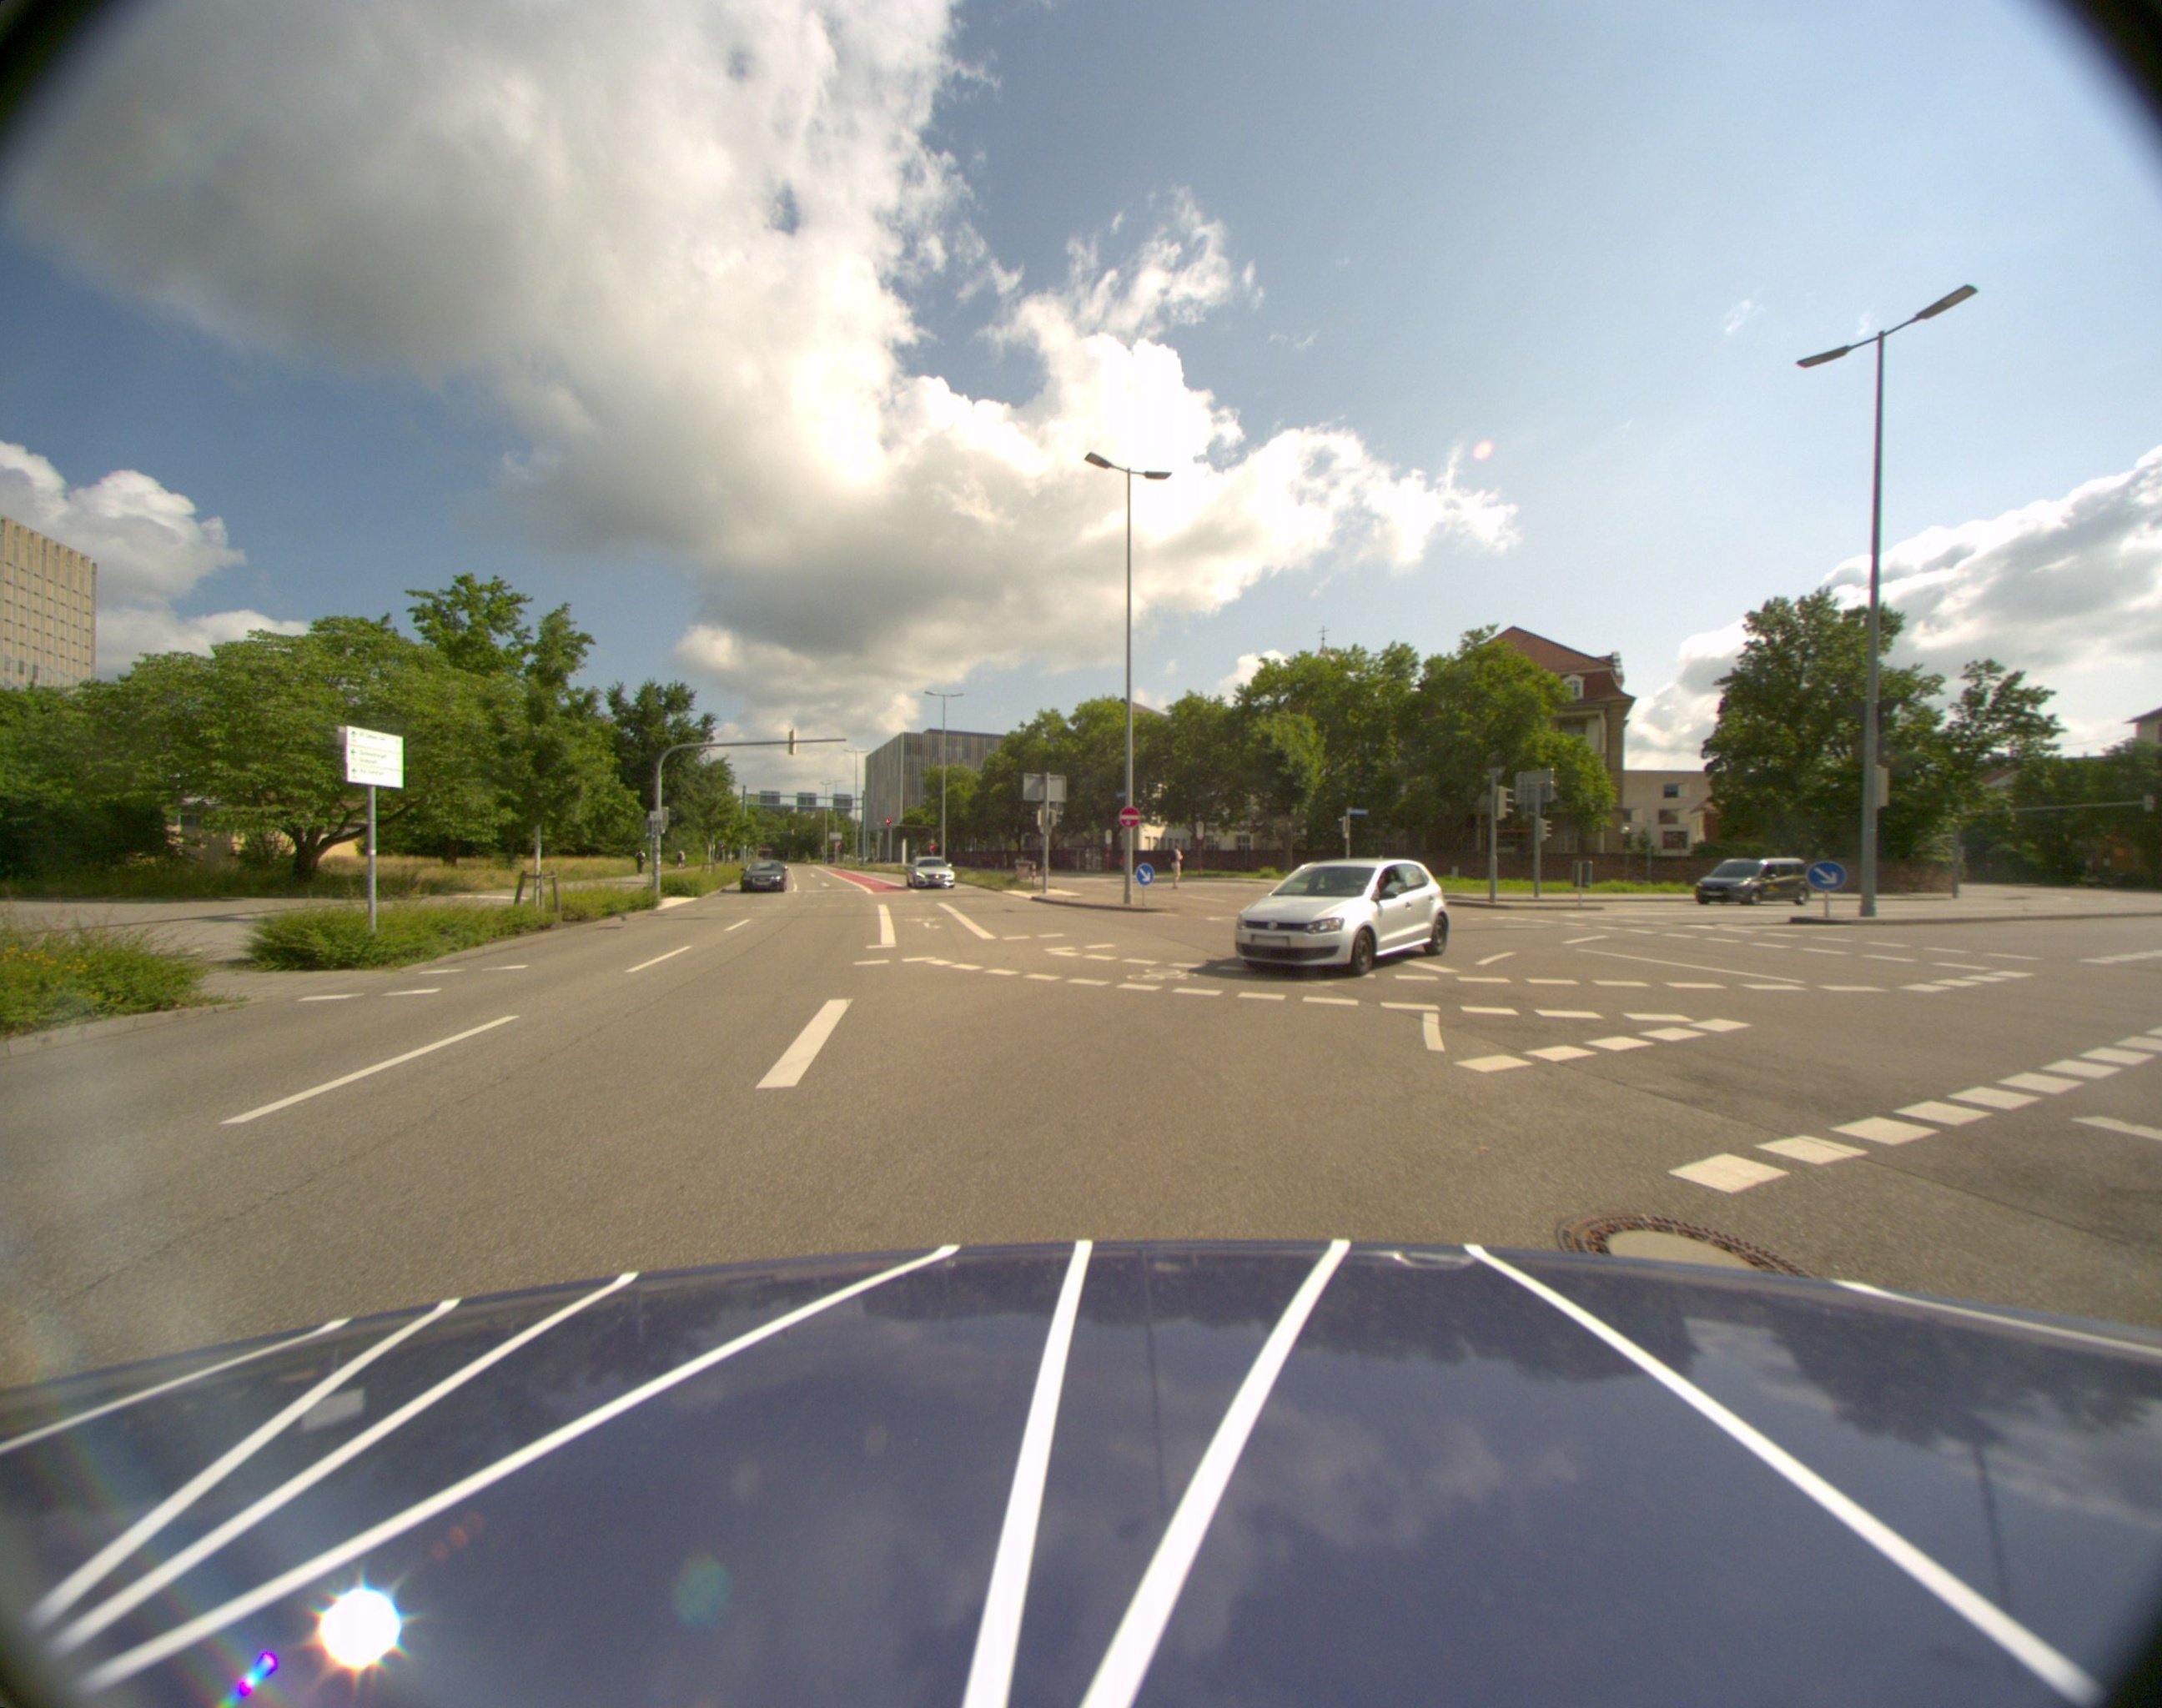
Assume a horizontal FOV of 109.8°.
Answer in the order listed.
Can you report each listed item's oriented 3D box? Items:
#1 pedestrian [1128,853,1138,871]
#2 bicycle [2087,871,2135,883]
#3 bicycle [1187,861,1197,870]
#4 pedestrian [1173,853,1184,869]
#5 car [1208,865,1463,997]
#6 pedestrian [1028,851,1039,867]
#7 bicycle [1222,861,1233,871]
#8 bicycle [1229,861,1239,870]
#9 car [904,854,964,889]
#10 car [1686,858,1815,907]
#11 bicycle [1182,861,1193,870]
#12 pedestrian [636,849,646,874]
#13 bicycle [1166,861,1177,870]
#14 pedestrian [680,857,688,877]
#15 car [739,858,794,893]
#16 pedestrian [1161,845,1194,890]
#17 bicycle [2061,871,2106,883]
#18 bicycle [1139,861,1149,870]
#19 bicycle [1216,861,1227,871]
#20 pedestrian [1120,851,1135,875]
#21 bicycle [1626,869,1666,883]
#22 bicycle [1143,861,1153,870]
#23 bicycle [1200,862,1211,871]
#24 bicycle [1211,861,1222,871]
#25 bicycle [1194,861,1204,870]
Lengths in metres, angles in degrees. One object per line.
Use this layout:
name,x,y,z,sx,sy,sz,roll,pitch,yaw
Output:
pedestrian,5.147,0.764,75.043,0.665,1.713,0.740,0,1,-43
bicycle,112.299,2.475,82.849,1.050,1.200,2.891,-2,1,-17
bicycle,10.528,1.073,71.979,0.481,0.843,0.975,2,1,44
pedestrian,9.311,0.635,72.320,0.722,1.525,0.728,1,1,45
car,3.659,0.895,10.535,4.013,1.433,1.651,0,0,-43
pedestrian,-5.542,0.598,87.937,0.888,1.770,0.768,-5,4,-44
bicycle,13.327,1.098,69.218,0.481,0.843,0.975,2,1,44
bicycle,13.868,1.061,68.800,0.481,0.843,0.975,2,1,44
car,-7.057,0.787,36.001,2.064,1.434,4.771,-2,1,-20
car,25.602,1.073,29.056,4.677,1.774,1.851,1,-1,-23
bicycle,10.163,1.090,72.411,0.481,0.843,0.975,2,1,44
pedestrian,-27.761,0.488,47.929,0.543,1.598,0.523,1,-2,-28
bicycle,8.776,1.140,73.683,0.481,0.843,0.975,2,1,44
pedestrian,-34.612,1.143,66.244,0.543,1.757,0.523,1,-2,-28
car,-13.760,0.923,33.430,2.002,1.369,4.153,1,0,-20
pedestrian,4.056,0.566,31.952,1.183,1.846,0.697,0,-1,-35
bicycle,113.344,2.564,85.928,1.074,1.200,2.891,-2,1,-17
bicycle,6.272,1.165,76.114,0.481,0.843,0.975,2,1,44
bicycle,12.863,1.093,69.652,0.481,0.843,0.975,2,1,44
pedestrian,3.487,0.675,57.140,0.751,1.770,0.963,-1,1,-31
bicycle,38.799,1.523,52.199,2.056,0.856,0.860,1,2,19
bicycle,6.706,1.151,75.732,0.481,0.843,0.975,2,1,44
bicycle,11.622,1.152,70.867,0.498,0.843,1.076,1,1,44
bicycle,12.506,1.110,70.111,0.481,0.843,0.975,2,1,44
bicycle,11.089,1.056,71.500,0.481,0.843,0.975,2,1,44
